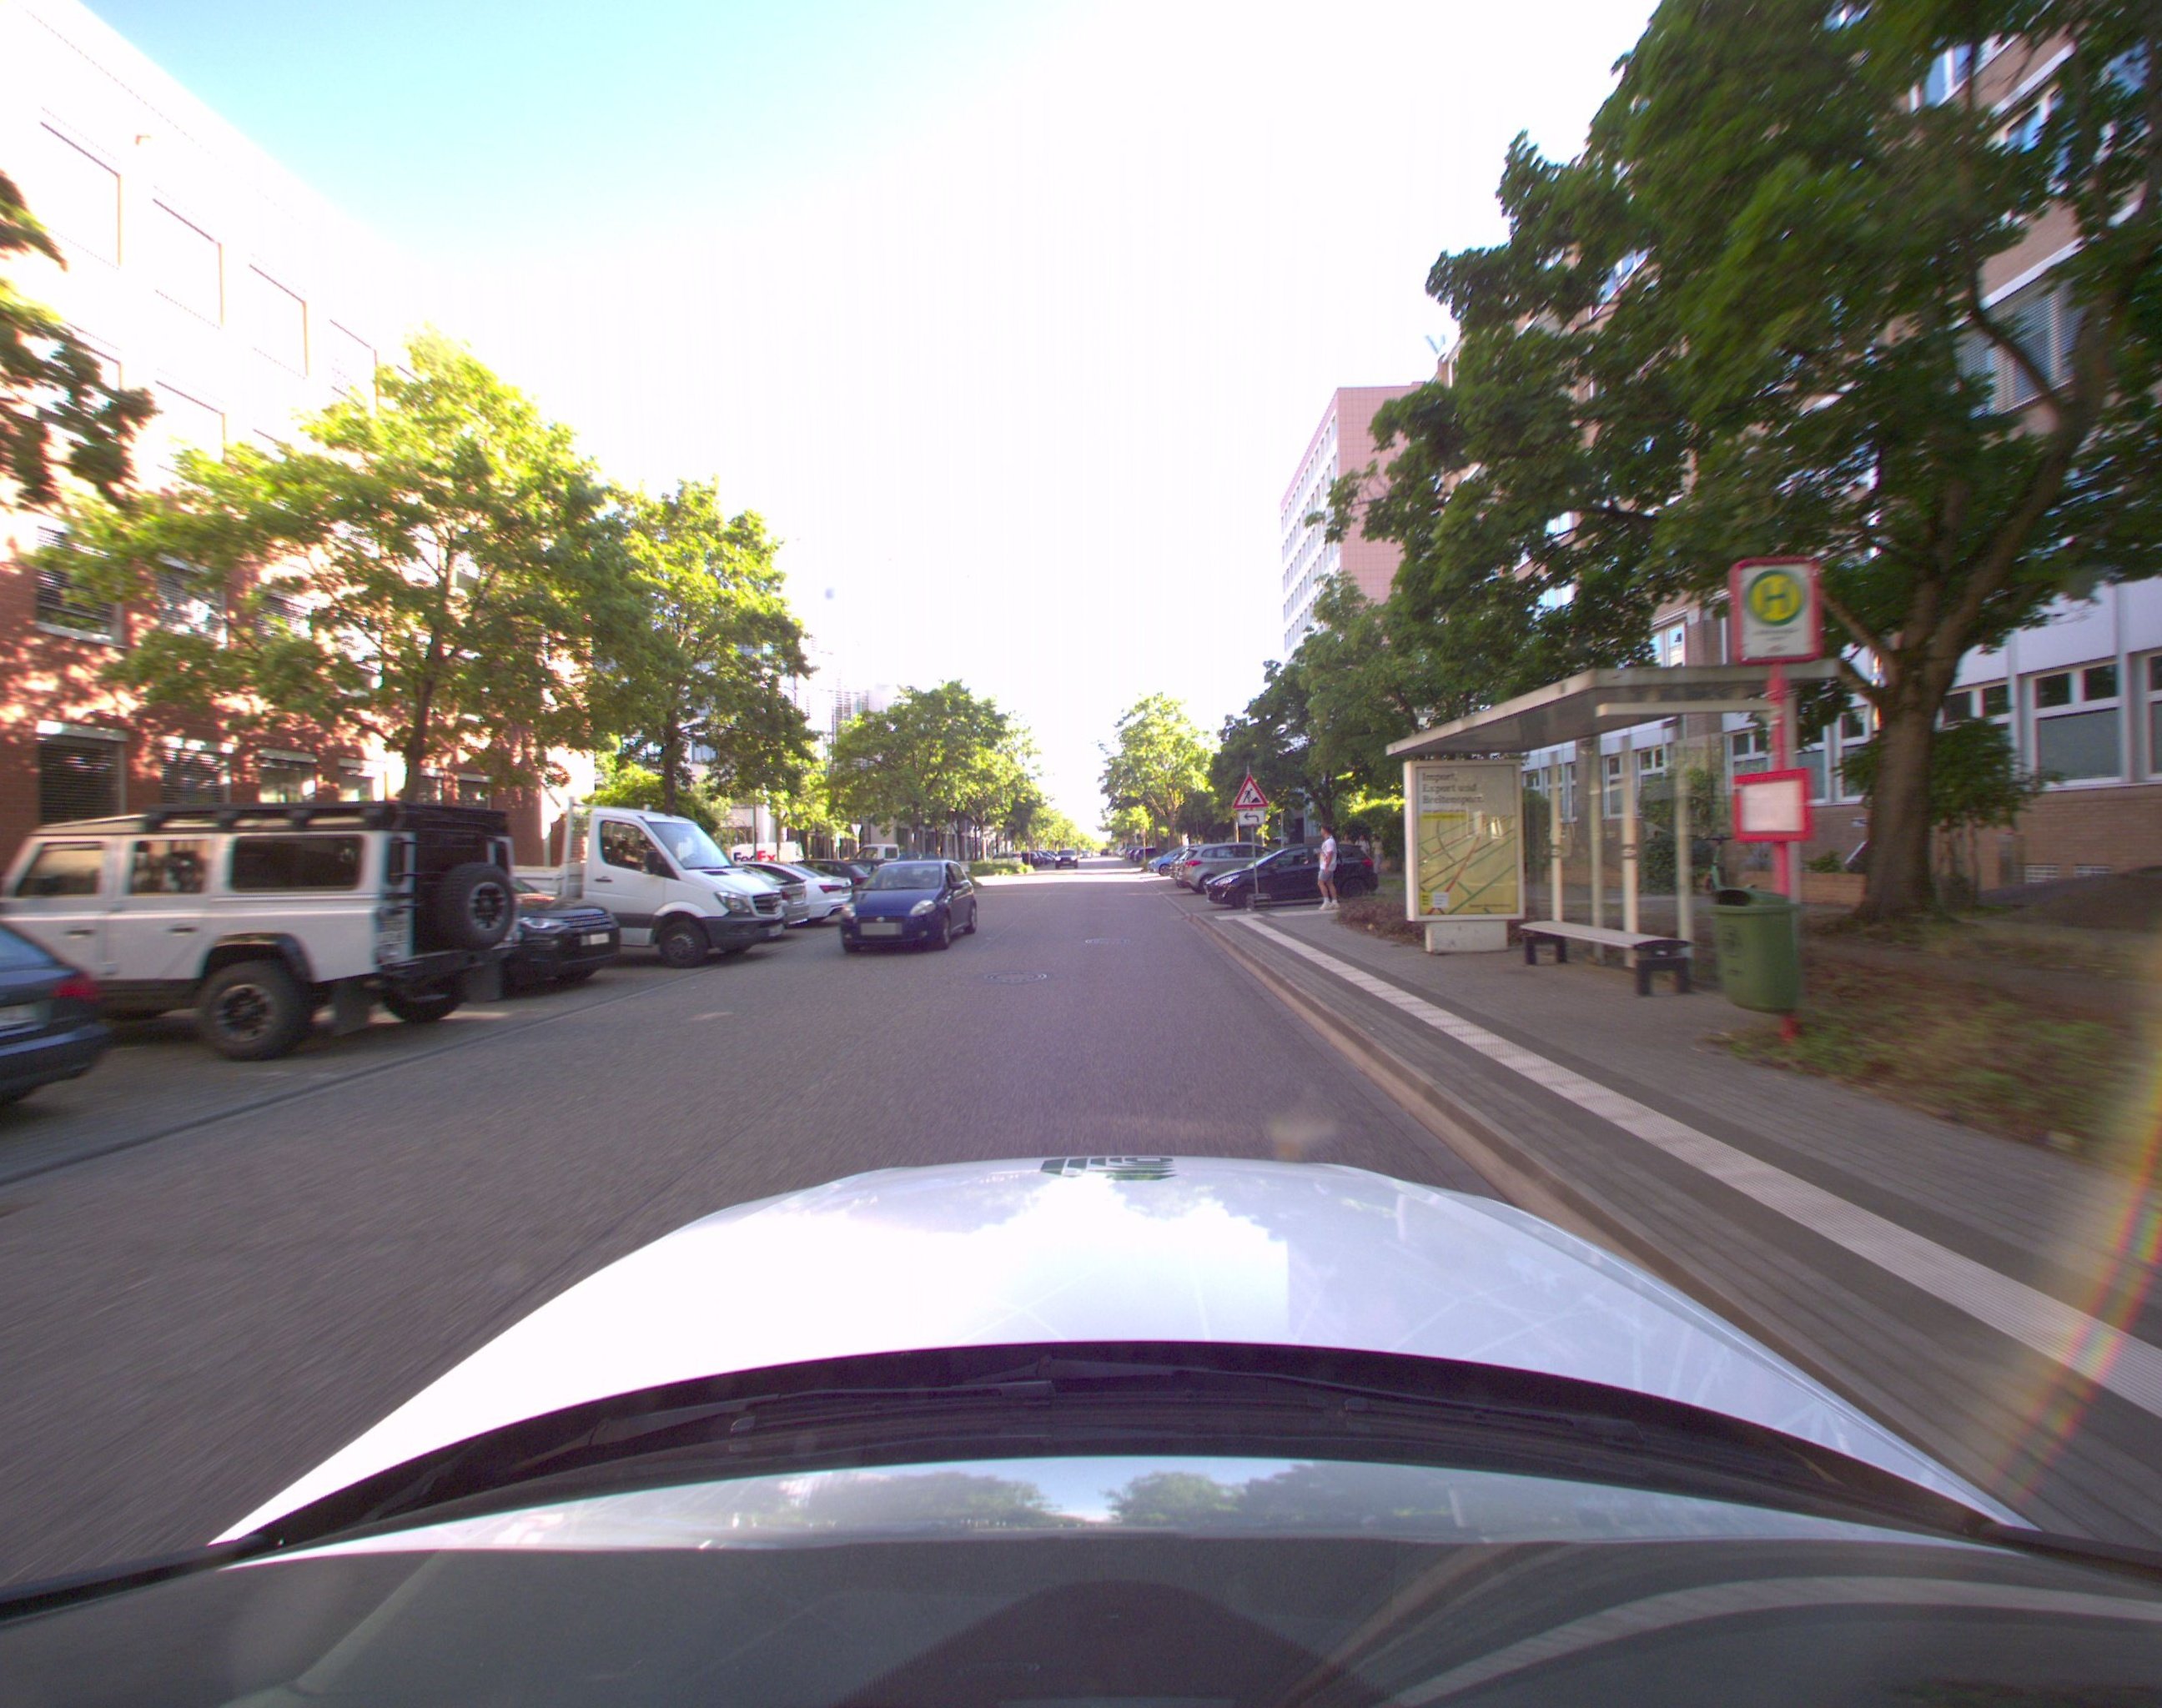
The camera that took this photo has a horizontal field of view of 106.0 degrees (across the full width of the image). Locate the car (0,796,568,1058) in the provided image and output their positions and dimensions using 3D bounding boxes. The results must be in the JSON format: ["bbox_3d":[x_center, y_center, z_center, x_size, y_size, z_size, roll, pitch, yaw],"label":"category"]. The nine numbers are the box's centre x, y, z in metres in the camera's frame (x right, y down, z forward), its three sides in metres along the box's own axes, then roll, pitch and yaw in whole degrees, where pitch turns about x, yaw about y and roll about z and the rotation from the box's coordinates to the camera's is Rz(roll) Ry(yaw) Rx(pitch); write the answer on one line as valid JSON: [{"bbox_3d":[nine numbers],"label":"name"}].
[{"bbox_3d":[-7.554,0.566,7.418,4.465,2.051,2.000,0,0,1],"label":"car"}]

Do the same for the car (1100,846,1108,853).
[{"bbox_3d":[5.776,-1.115,204.739,1.926,1.597,4.368,-2,0,1],"label":"car"}]

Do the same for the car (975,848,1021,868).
[{"bbox_3d":[-6.750,0.353,66.639,3.570,1.549,1.636,-1,-2,-1],"label":"car"}]

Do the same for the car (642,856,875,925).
[{"bbox_3d":[-7.198,0.796,18.552,4.526,1.442,1.890,0,1,0],"label":"car"}]

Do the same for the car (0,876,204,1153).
[{"bbox_3d":[-7.875,0.908,4.559,3.771,1.492,1.830,0,0,-4],"label":"car"}]

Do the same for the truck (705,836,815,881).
[{"bbox_3d":[-21.123,0.284,53.803,6.085,2.704,2.577,-2,0,-1],"label":"truck"}]

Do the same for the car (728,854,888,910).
[{"bbox_3d":[-7.831,0.791,23.544,3.965,1.435,1.725,-2,0,7],"label":"car"}]

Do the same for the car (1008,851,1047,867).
[{"bbox_3d":[-5.275,0.515,80.396,3.720,1.464,1.677,-1,0,0],"label":"car"}]

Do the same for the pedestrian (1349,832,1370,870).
[{"bbox_3d":[11.421,-0.131,33.377,0.600,1.521,0.594,-2,0,-1],"label":"pedestrian"}]

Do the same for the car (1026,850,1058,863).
[{"bbox_3d":[-4.874,0.333,101.638,3.879,1.464,1.858,-1,0,0],"label":"car"}]

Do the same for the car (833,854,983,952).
[{"bbox_3d":[-2.866,0.744,14.322,1.637,1.420,4.001,-2,0,2],"label":"car"}]

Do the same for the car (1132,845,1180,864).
[{"bbox_3d":[6.924,0.047,75.364,4.255,1.633,1.857,-2,0,-1],"label":"car"}]

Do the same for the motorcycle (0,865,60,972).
[{"bbox_3d":[-16.644,0.992,11.902,0.712,1.591,2.110,-2,0,0],"label":"motorcycle"}]

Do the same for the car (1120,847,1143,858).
[{"bbox_3d":[9.041,-0.238,146.773,3.979,1.792,1.998,-1,0,-4],"label":"car"}]

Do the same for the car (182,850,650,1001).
[{"bbox_3d":[-7.892,0.787,10.002,4.092,1.662,2.001,0,0,1],"label":"car"}]

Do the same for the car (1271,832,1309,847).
[{"bbox_3d":[25.246,-1.728,98.469,4.062,1.783,1.998,0,0,-3],"label":"car"}]

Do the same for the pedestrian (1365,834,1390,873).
[{"bbox_3d":[12.162,-0.013,33.426,0.754,1.552,0.559,-2,0,-1],"label":"pedestrian"}]

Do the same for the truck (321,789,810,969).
[{"bbox_3d":[-7.757,0.361,12.732,6.208,2.422,2.188,-2,0,2],"label":"truck"}]

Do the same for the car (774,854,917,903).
[{"bbox_3d":[-7.464,0.755,26.065,3.967,1.435,1.792,-1,0,5],"label":"car"}]

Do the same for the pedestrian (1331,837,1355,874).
[{"bbox_3d":[10.673,0.056,33.240,0.698,1.458,0.715,-2,0,-1],"label":"pedestrian"}]

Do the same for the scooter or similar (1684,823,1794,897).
[{"bbox_3d":[12.373,0.108,15.392,0.547,1.325,1.804,0,0,-3],"label":"scooter or similar"}]

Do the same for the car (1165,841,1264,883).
[{"bbox_3d":[5.622,0.311,34.636,3.833,1.483,1.825,-4,1,1],"label":"car"}]

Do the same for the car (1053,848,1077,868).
[{"bbox_3d":[-1.340,0.324,70.164,1.886,1.684,4.352,-2,0,0],"label":"car"}]

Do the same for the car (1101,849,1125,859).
[{"bbox_3d":[5.502,-0.077,139.992,3.979,1.624,1.998,-1,0,-4],"label":"car"}]

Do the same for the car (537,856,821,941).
[{"bbox_3d":[-7.537,0.800,15.622,4.412,1.487,2.000,0,0,0],"label":"car"}]

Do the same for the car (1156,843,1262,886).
[{"bbox_3d":[5.010,0.390,32.103,3.792,1.408,1.700,-4,1,-4],"label":"car"}]

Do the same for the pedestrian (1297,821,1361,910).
[{"bbox_3d":[5.066,0.221,16.647,0.918,1.711,0.695,-5,1,-12],"label":"pedestrian"}]

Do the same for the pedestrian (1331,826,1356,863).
[{"bbox_3d":[12.697,-0.444,39.372,0.696,1.711,0.918,-5,1,-9],"label":"pedestrian"}]

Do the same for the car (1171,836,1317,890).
[{"bbox_3d":[5.306,0.288,26.860,4.344,1.597,1.936,-2,0,-5],"label":"car"}]

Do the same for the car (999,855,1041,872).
[{"bbox_3d":[-5.674,0.901,76.325,3.720,1.464,1.677,-1,0,0],"label":"car"}]

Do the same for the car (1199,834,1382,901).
[{"bbox_3d":[4.953,0.307,19.604,3.922,1.439,1.774,-2,0,-1],"label":"car"}]

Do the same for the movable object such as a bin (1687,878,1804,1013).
[{"bbox_3d":[4.030,0.540,4.961,0.297,0.753,0.467,-4,0,2],"label":"movable object such as a bin"}]

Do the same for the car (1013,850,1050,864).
[{"bbox_3d":[-5.385,0.327,88.533,3.879,1.464,1.858,-1,0,0],"label":"car"}]

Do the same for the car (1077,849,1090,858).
[{"bbox_3d":[0.409,-0.061,134.133,1.804,1.415,4.114,-1,0,5],"label":"car"}]

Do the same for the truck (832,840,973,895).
[{"bbox_3d":[-6.984,0.516,32.164,4.963,1.959,2.140,-2,0,3],"label":"truck"}]

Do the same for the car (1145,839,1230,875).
[{"bbox_3d":[5.885,0.159,45.269,4.390,1.618,1.912,-4,0,0],"label":"car"}]
